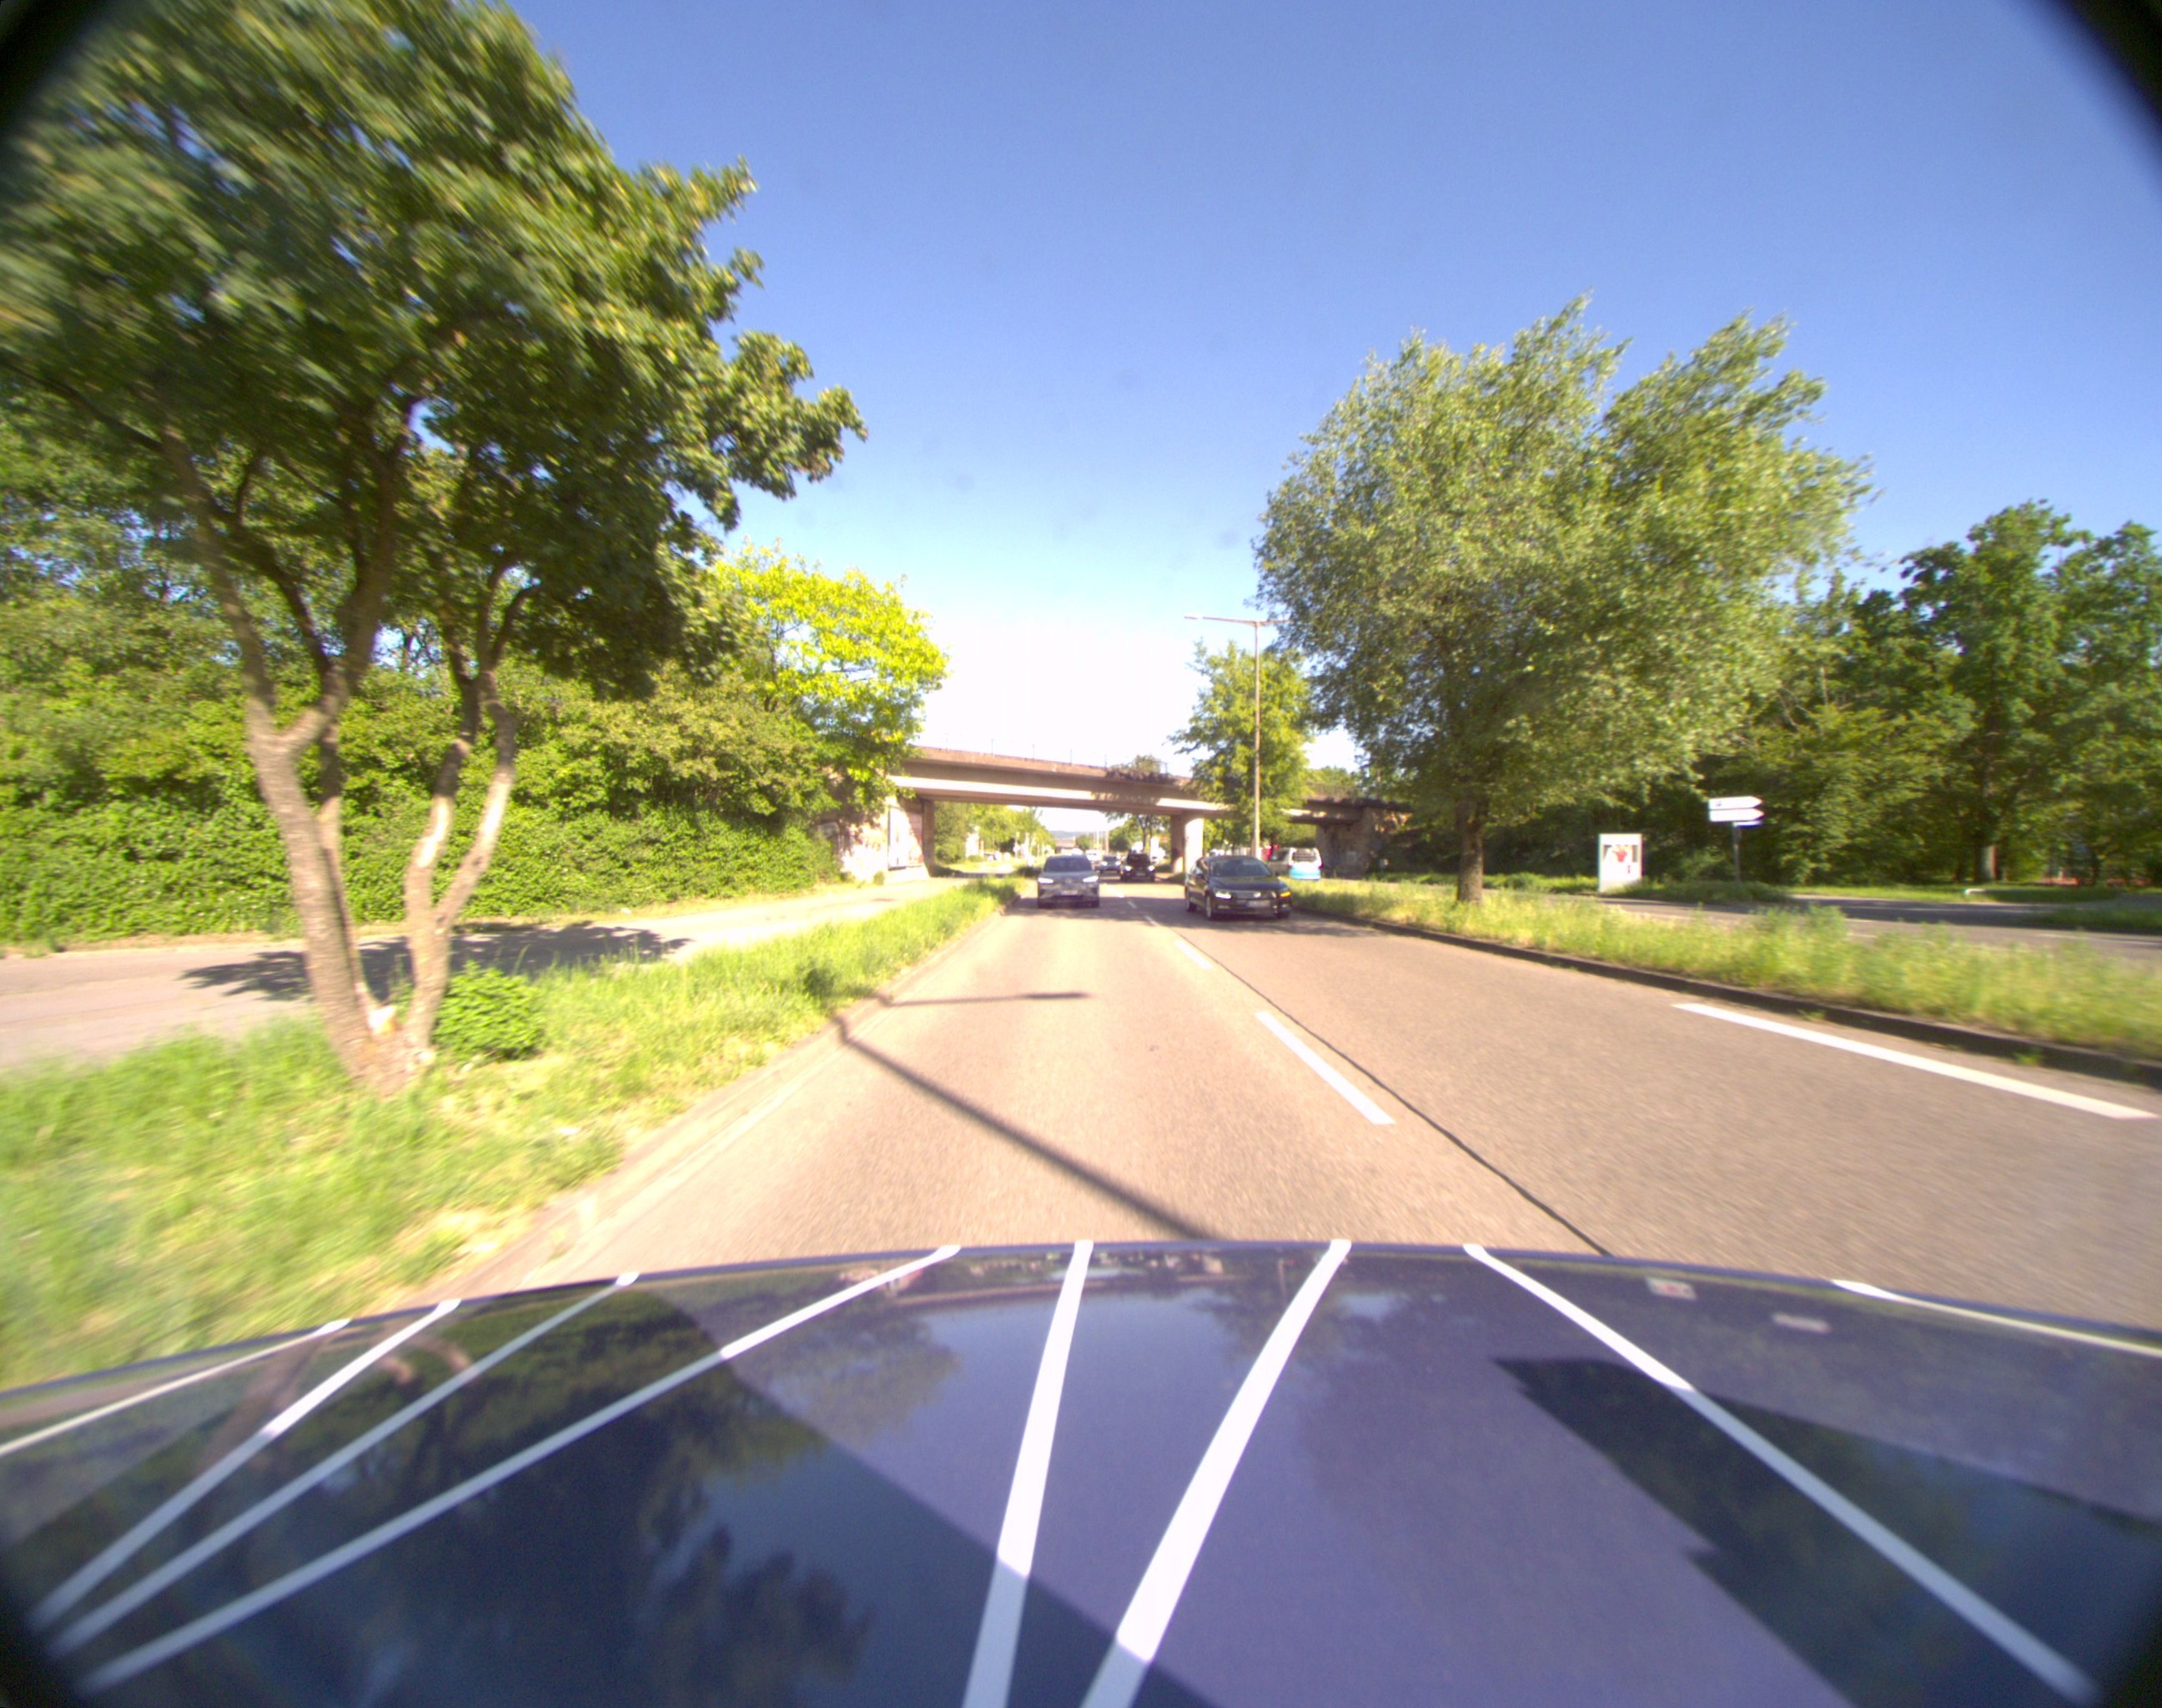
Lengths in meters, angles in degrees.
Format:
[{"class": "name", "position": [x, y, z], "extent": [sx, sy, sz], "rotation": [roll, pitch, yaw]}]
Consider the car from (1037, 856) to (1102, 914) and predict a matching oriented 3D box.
[{"class": "car", "position": [-0.331, 0.899, 24.067], "extent": [1.849, 1.615, 4.265], "rotation": [-1, 0, 0]}]

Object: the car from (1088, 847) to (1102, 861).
[{"class": "car", "position": [2.195, -0.028, 123.430], "extent": [2.089, 2.230, 3.999], "rotation": [-1, 1, -1]}]

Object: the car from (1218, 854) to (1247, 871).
[{"class": "car", "position": [15.401, 0.817, 77.447], "extent": [1.987, 1.543, 4.592], "rotation": [-1, 1, 0]}]

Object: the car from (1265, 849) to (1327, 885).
[{"class": "car", "position": [12.148, 0.663, 43.274], "extent": [1.999, 1.918, 5.244], "rotation": [0, 1, -1]}]

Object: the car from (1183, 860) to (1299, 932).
[{"class": "car", "position": [3.688, 0.920, 18.270], "extent": [1.849, 1.445, 4.265], "rotation": [-1, 0, 0]}]

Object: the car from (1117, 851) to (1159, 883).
[{"class": "car", "position": [3.291, 0.705, 44.470], "extent": [1.999, 1.674, 4.695], "rotation": [-1, 1, -1]}]

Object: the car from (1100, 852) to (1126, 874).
[{"class": "car", "position": [2.804, 0.741, 66.824], "extent": [1.999, 1.779, 4.270], "rotation": [-1, 1, -1]}]

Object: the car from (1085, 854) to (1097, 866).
[{"class": "car", "position": [1.782, 0.974, 134.631], "extent": [1.999, 2.002, 3.999], "rotation": [-1, 1, -1]}]
